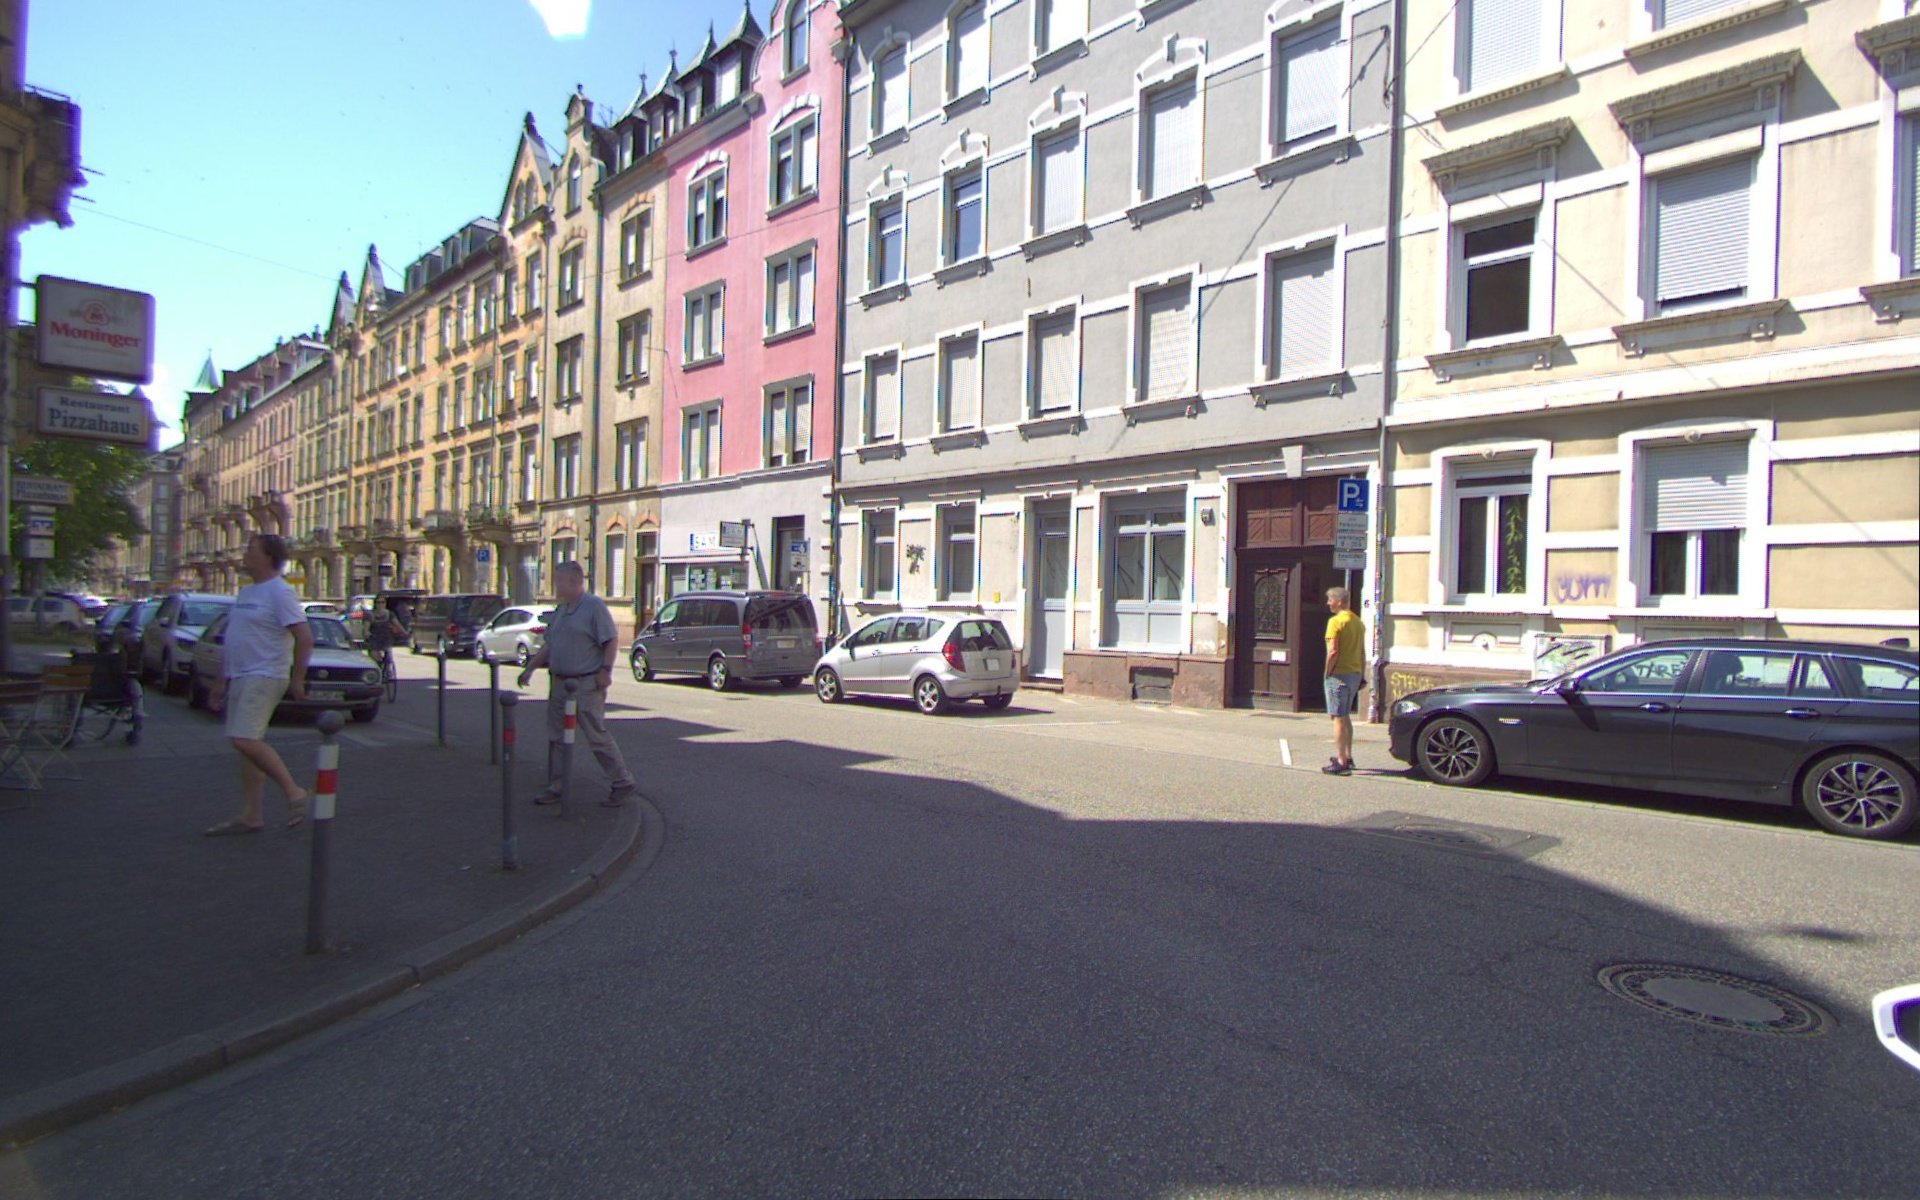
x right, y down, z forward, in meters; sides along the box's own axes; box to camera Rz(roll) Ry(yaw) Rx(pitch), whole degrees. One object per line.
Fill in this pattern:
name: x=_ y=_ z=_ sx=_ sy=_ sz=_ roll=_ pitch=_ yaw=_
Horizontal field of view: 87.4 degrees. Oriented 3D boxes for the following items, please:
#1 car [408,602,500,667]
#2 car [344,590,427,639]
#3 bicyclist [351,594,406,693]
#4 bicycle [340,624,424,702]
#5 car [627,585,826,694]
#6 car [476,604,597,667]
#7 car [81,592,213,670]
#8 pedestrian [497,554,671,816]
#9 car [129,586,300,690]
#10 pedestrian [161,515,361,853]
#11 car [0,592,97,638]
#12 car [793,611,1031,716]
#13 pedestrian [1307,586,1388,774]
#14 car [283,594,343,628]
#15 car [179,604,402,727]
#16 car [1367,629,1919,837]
car: x=-15.813 y=1.037 z=31.318 sx=3.314 sy=1.910 sz=1.539 roll=0 pitch=-1 yaw=44
car: x=-21.524 y=0.532 z=37.594 sx=3.792 sy=1.753 sz=1.712 roll=0 pitch=-1 yaw=44
bicyclist: x=-9.755 y=0.726 z=16.857 sx=0.620 sy=1.619 sz=0.667 roll=2 pitch=-2 yaw=-45
bicycle: x=-9.669 y=1.017 z=16.755 sx=2.273 sy=1.203 sz=0.609 roll=-1 pitch=-2 yaw=45
car: x=-4.961 y=0.749 z=20.905 sx=4.658 sy=2.024 sz=1.865 roll=-1 pitch=0 yaw=45
car: x=-11.708 y=0.936 z=27.654 sx=3.792 sy=1.603 sz=1.712 roll=-1 pitch=-1 yaw=44
car: x=-16.779 y=0.635 z=20.676 sx=3.503 sy=1.463 sz=1.629 roll=-1 pitch=-4 yaw=44
pedestrian: x=-2.889 y=0.617 z=7.720 sx=0.953 sy=1.838 sz=0.893 roll=2 pitch=-2 yaw=-42
car: x=-13.048 y=0.655 z=17.513 sx=3.792 sy=1.603 sz=1.712 roll=-1 pitch=-4 yaw=44
pedestrian: x=-4.395 y=0.492 z=6.315 sx=0.928 sy=1.914 sz=0.843 roll=2 pitch=-2 yaw=-40
car: x=-33.085 y=0.531 z=35.649 sx=3.615 sy=1.579 sz=1.604 roll=3 pitch=-2 yaw=-45
car: x=-0.907 y=1.000 z=17.133 sx=4.004 sy=1.582 sz=1.796 roll=-1 pitch=-2 yaw=44
pedestrian: x=4.036 y=0.810 z=10.503 sx=0.671 sy=1.878 sz=0.727 roll=1 pitch=-1 yaw=12
car: x=-29.353 y=0.507 z=45.550 sx=3.242 sy=1.463 sz=1.518 roll=0 pitch=-4 yaw=44
car: x=-9.282 y=0.840 z=13.822 sx=3.792 sy=1.444 sz=1.712 roll=-1 pitch=-4 yaw=44
car: x=6.511 y=1.036 z=9.181 sx=1.987 sy=1.456 sz=4.810 roll=3 pitch=-2 yaw=-45
